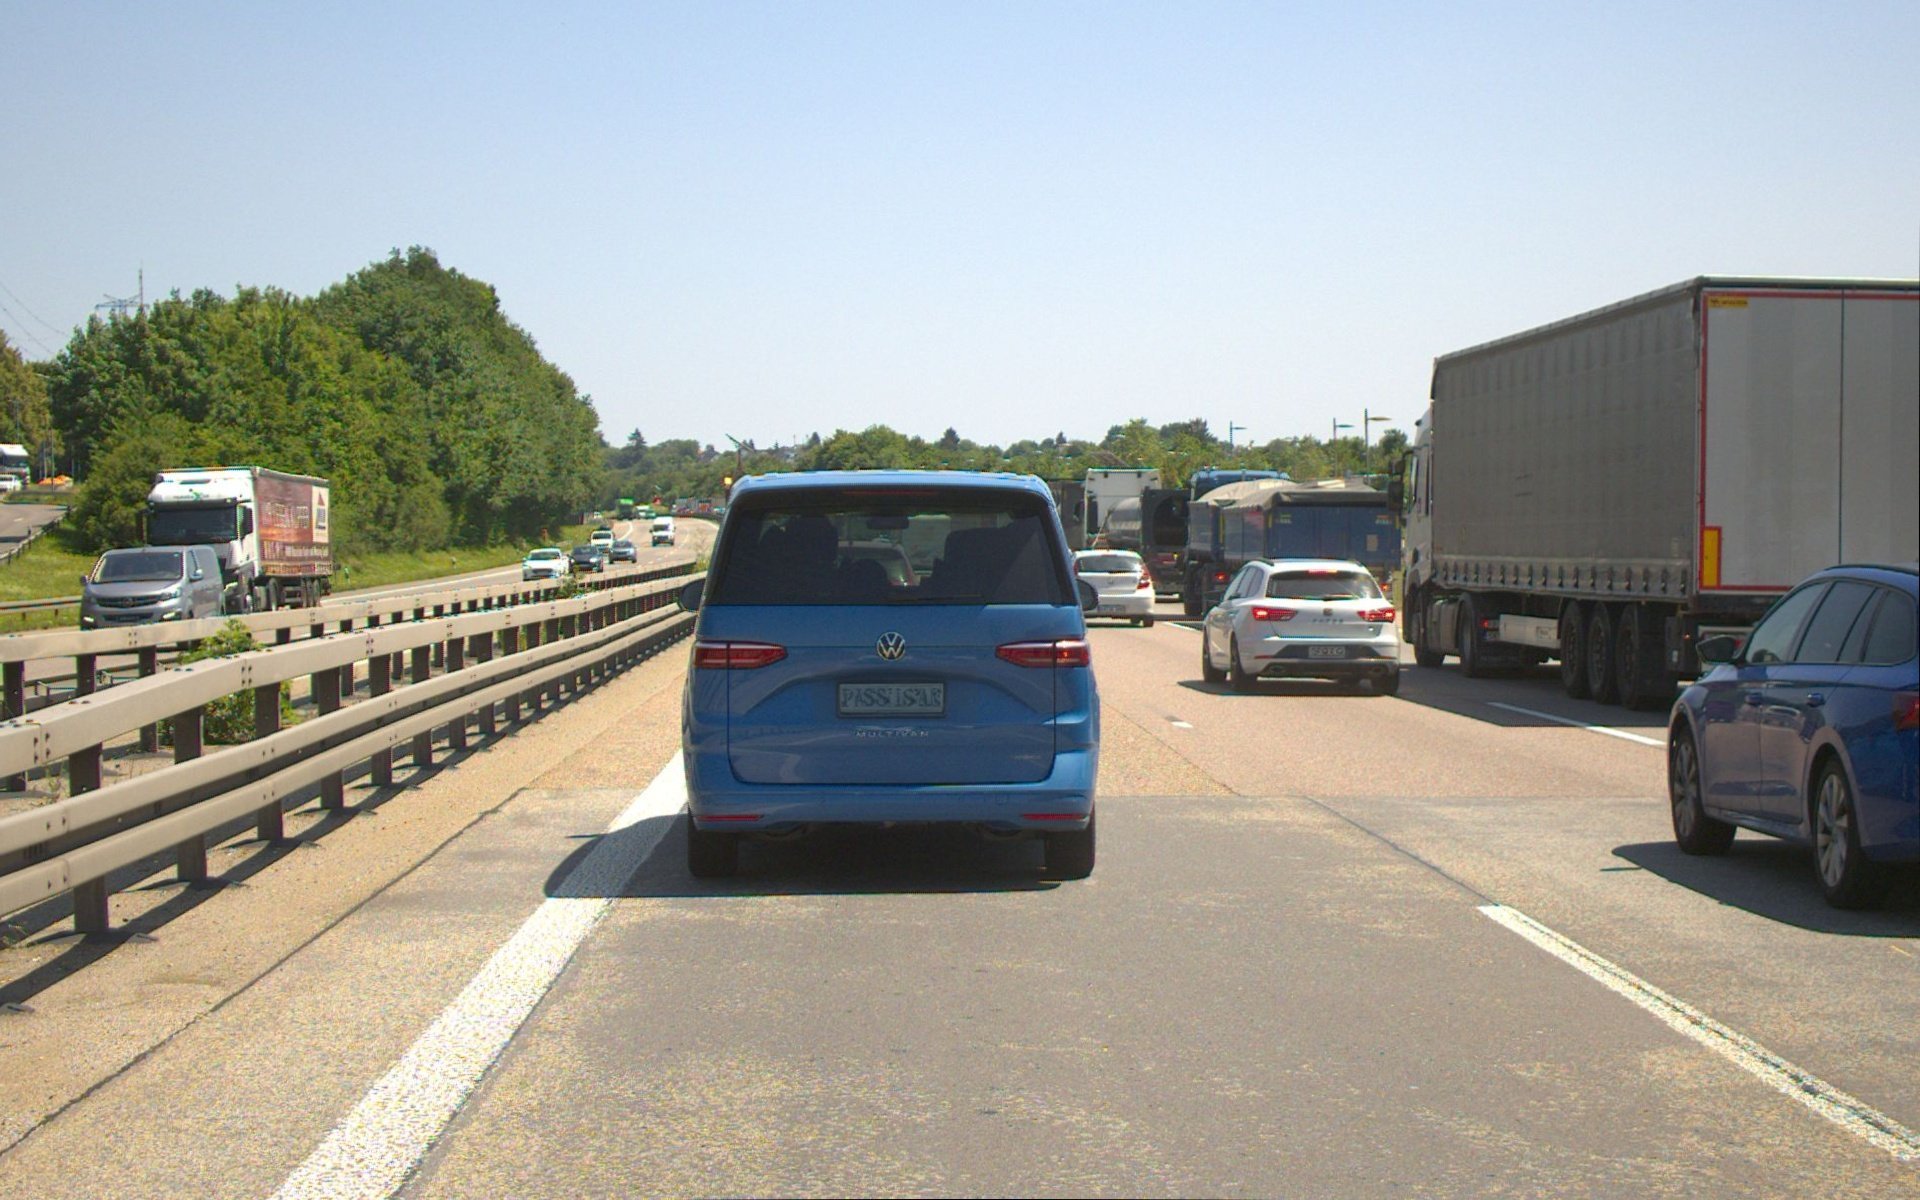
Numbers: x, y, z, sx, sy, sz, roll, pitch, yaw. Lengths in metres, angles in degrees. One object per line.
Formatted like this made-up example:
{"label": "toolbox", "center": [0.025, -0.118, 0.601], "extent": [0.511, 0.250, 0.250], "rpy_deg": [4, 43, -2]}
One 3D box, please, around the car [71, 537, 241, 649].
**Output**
{"label": "car", "center": [-14.544, -0.137, 62.435], "extent": [1.993, 1.934, 4.897], "rpy_deg": [1, 0, -1]}

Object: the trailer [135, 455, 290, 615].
{"label": "trailer", "center": [-19.575, -1.731, 90.337], "extent": [2.756, 3.962, 6.132], "rpy_deg": [-2, 1, -2]}

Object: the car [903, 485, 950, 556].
{"label": "car", "center": [-2.611, -6.038, 263.584], "extent": [3.218, 5.239, 8.145], "rpy_deg": [1, 0, -3]}

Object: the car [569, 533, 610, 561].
{"label": "car", "center": [-19.795, -2.819, 183.672], "extent": [1.876, 1.441, 4.145], "rpy_deg": [-2, 0, -3]}

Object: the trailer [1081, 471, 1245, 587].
{"label": "trailer", "center": [5.700, -1.940, 99.724], "extent": [3.646, 3.068, 15.772], "rpy_deg": [1, 0, -1]}

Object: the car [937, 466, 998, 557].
{"label": "car", "center": [0.408, -5.242, 205.995], "extent": [3.218, 5.239, 8.145], "rpy_deg": [1, 0, -2]}

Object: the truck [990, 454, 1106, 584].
{"label": "truck", "center": [3.620, -3.321, 147.035], "extent": [3.621, 5.195, 15.691], "rpy_deg": [1, 0, -3]}

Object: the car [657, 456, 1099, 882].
{"label": "car", "center": [-0.375, 0.288, 16.948], "extent": [1.901, 1.831, 4.000], "rpy_deg": [1, 0, -1]}

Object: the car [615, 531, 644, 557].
{"label": "car", "center": [-21.439, -3.635, 223.109], "extent": [1.773, 1.625, 3.951], "rpy_deg": [1, 0, -4]}

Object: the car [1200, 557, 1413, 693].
{"label": "car", "center": [3.706, 0.237, 37.396], "extent": [1.867, 1.356, 4.000], "rpy_deg": [1, 1, -1]}

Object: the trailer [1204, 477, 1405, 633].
{"label": "trailer", "center": [6.623, -0.965, 67.406], "extent": [2.743, 2.827, 9.117], "rpy_deg": [1, 2, -2]}

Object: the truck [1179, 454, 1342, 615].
{"label": "truck", "center": [6.440, -1.458, 74.664], "extent": [2.743, 3.300, 7.133], "rpy_deg": [1, 2, -1]}

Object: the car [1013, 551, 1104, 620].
{"label": "car", "center": [2.201, -0.331, 77.697], "extent": [1.780, 1.519, 4.000], "rpy_deg": [1, 0, -2]}

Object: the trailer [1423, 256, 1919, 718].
{"label": "trailer", "center": [7.580, -1.104, 36.963], "extent": [2.962, 4.035, 13.753], "rpy_deg": [0, 1, -2]}

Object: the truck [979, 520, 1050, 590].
{"label": "truck", "center": [1.476, -1.221, 94.688], "extent": [1.725, 1.851, 4.000], "rpy_deg": [1, 0, -2]}

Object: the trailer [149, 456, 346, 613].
{"label": "trailer", "center": [-19.747, -1.879, 96.273], "extent": [2.763, 3.962, 14.683], "rpy_deg": [-2, 1, -2]}

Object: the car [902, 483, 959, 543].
{"label": "car", "center": [-1.420, -4.133, 164.650], "extent": [2.550, 2.708, 5.622], "rpy_deg": [1, 0, -2]}

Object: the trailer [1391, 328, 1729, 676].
{"label": "trailer", "center": [7.365, -1.207, 43.109], "extent": [2.924, 4.030, 6.411], "rpy_deg": [0, 1, -2]}

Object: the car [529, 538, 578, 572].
{"label": "car", "center": [-17.888, -1.971, 151.290], "extent": [1.850, 1.462, 4.305], "rpy_deg": [-1, 0, -3]}

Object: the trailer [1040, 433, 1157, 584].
{"label": "trailer", "center": [4.877, -3.149, 123.969], "extent": [3.646, 5.119, 13.076], "rpy_deg": [1, 0, 0]}

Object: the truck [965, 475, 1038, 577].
{"label": "truck", "center": [2.011, -3.622, 171.989], "extent": [3.068, 4.903, 10.691], "rpy_deg": [1, 0, -2]}

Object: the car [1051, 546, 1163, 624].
{"label": "car", "center": [2.844, -0.299, 67.188], "extent": [1.840, 1.449, 4.000], "rpy_deg": [1, 0, -2]}

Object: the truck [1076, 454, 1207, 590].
{"label": "truck", "center": [5.633, -2.399, 107.962], "extent": [3.626, 4.080, 7.524], "rpy_deg": [1, 0, 0]}

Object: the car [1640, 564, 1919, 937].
{"label": "car", "center": [4.408, 0.575, 15.477], "extent": [1.706, 1.436, 4.428], "rpy_deg": [1, 0, -1]}
